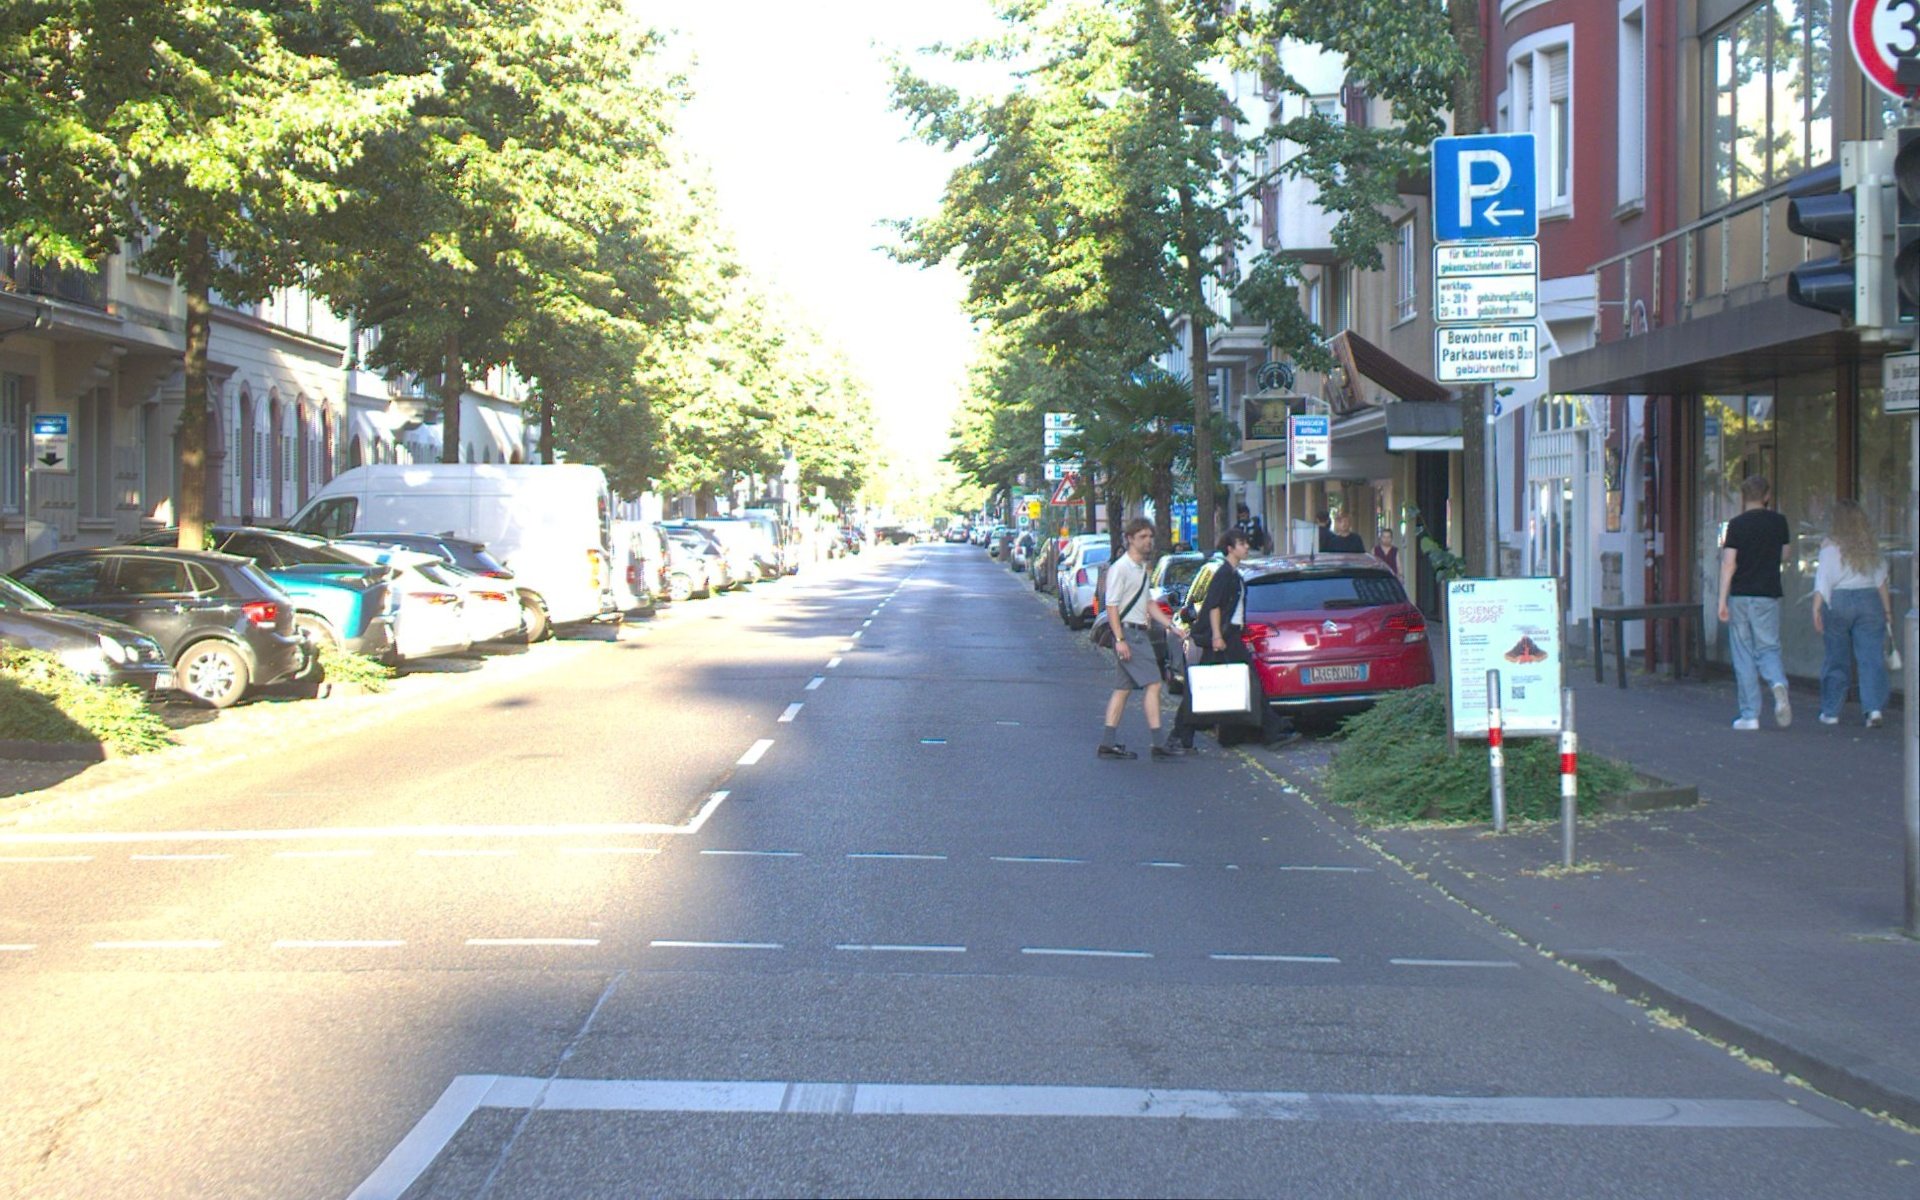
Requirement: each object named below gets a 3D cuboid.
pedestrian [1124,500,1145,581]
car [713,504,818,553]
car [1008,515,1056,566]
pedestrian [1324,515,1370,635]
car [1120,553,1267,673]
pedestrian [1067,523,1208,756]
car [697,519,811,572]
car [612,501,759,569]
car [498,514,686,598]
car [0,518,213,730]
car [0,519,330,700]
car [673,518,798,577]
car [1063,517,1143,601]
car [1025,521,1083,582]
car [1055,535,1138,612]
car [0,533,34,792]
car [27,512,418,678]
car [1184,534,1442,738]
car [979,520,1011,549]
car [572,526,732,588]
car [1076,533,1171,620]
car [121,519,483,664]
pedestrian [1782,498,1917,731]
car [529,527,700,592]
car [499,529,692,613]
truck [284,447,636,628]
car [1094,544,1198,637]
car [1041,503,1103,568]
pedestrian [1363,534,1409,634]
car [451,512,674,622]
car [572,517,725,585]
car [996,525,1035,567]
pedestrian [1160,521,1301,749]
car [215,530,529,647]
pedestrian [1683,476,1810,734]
[{"bbox_3d":[4.342,-1.478,85.449,0.449,2.006,0.424,1,2,0],"label":"pedestrian"},{"bbox_3d":[-7.114,-2.618,126.189,3.739,1.702,2.000,1,2,0],"label":"car"},{"bbox_3d":[2.289,-1.898,109.909,1.308,1.594,2.661,1,1,-3],"label":"car"},{"bbox_3d":[5.287,-0.344,47.005,0.534,1.616,0.534,1,2,0],"label":"pedestrian"},{"bbox_3d":[2.682,0.128,39.951,1.304,1.288,3.014,2,1,-3],"label":"car"},{"bbox_3d":[1.307,0.280,25.335,0.714,1.667,0.710,0,2,-40],"label":"pedestrian"},{"bbox_3d":[-7.031,-1.862,117.533,3.739,1.702,2.000,1,2,0],"label":"car"},{"bbox_3d":[-7.301,-1.745,91.603,3.739,1.702,2.000,1,2,0],"label":"car"},{"bbox_3d":[-7.672,-0.929,71.974,3.739,1.702,2.000,0,1,0],"label":"car"},{"bbox_3d":[-8.295,0.154,27.003,4.426,1.594,2.000,0,1,0],"label":"car"},{"bbox_3d":[-8.267,0.033,31.930,4.426,1.498,2.000,2,1,0],"label":"car"},{"bbox_3d":[-6.993,-1.645,107.283,3.739,1.702,2.000,1,2,0],"label":"car"},{"bbox_3d":[2.791,-0.806,67.402,1.308,1.594,2.661,1,1,-3],"label":"car"},{"bbox_3d":[2.486,-1.291,91.535,1.308,1.594,2.661,1,1,-3],"label":"car"},{"bbox_3d":[2.379,-0.466,60.201,1.206,1.296,2.661,1,1,-3],"label":"car"},{"bbox_3d":[-7.649,0.319,19.601,4.175,1.502,2.000,1,1,0],"label":"car"},{"bbox_3d":[-7.835,-0.081,36.768,3.739,1.636,2.000,1,2,0],"label":"car"},{"bbox_3d":[2.850,0.256,28.360,1.576,1.537,3.397,-2,1,-3],"label":"car"},{"bbox_3d":[1.919,-3.629,189.872,1.576,1.573,3.114,1,2,-2],"label":"car"},{"bbox_3d":[-7.475,-1.057,83.754,3.739,1.487,2.000,0,1,0],"label":"car"},{"bbox_3d":[2.518,-0.378,53.408,1.206,1.296,2.661,1,1,-3],"label":"car"},{"bbox_3d":[-7.440,-0.081,39.164,3.739,1.590,2.000,0,-1,0],"label":"car"},{"bbox_3d":[6.550,0.094,25.344,0.765,1.683,0.786,-1,2,-2],"label":"pedestrian"},{"bbox_3d":[-7.918,-0.944,79.044,3.739,1.444,2.000,0,1,0],"label":"car"},{"bbox_3d":[-7.071,-0.567,66.999,3.586,1.589,1.701,0,1,0],"label":"car"},{"bbox_3d":[-7.368,-0.927,50.990,4.940,2.606,2.000,0,1,0],"label":"truck"},{"bbox_3d":[2.683,-0.153,49.954,1.206,1.296,2.661,1,1,-3],"label":"car"},{"bbox_3d":[2.812,-1.614,86.419,1.308,1.594,2.661,1,1,-3],"label":"car"},{"bbox_3d":[5.883,-0.229,47.522,0.534,1.356,0.534,1,2,0],"label":"pedestrian"},{"bbox_3d":[-7.086,-0.601,61.599,3.739,1.852,2.000,1,2,0],"label":"car"},{"bbox_3d":[-7.952,-1.254,88.068,3.739,1.702,2.000,0,1,0],"label":"car"},{"bbox_3d":[2.141,-2.093,132.864,1.308,1.594,2.661,1,1,-3],"label":"car"},{"bbox_3d":[2.057,0.247,26.135,0.721,1.677,0.757,-1,3,-40],"label":"pedestrian"},{"bbox_3d":[-7.580,-0.164,44.564,3.739,1.444,2.000,0,1,0],"label":"car"},{"bbox_3d":[5.785,0.026,25.313,0.714,1.859,0.680,-2,2,-3],"label":"pedestrian"}]
